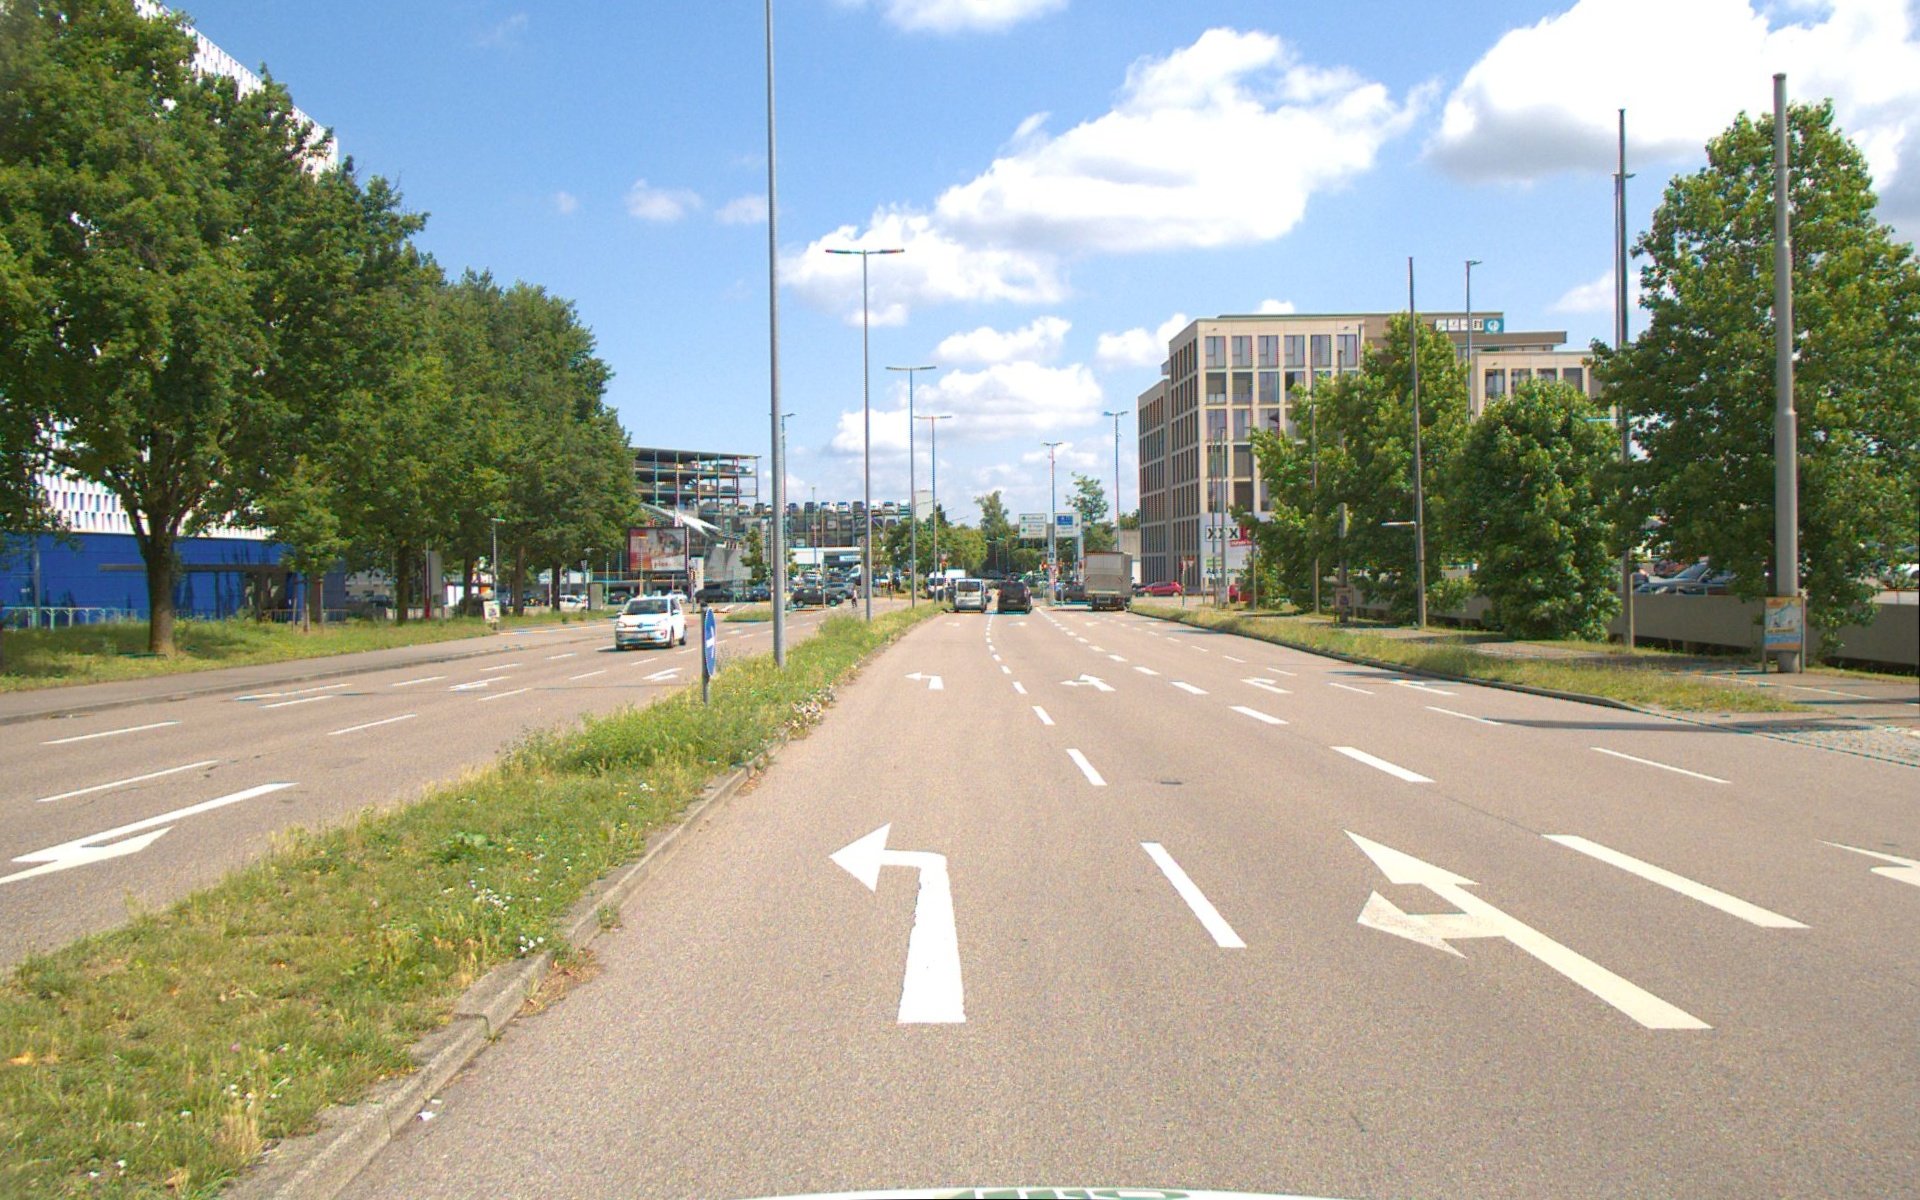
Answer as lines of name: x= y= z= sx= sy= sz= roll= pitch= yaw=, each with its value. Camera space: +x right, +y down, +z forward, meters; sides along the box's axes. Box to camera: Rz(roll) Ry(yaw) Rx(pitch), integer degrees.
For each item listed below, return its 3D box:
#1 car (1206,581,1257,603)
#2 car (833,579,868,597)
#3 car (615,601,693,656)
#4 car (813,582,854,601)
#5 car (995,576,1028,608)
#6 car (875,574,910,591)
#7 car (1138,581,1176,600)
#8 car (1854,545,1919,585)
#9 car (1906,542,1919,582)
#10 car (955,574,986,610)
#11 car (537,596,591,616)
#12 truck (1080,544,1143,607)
car: x=21.177 y=-0.617 z=128.976 sx=3.902 sy=1.691 sz=2.002 roll=0 pitch=1 yaw=8
car: x=-11.243 y=-1.241 z=169.456 sx=3.438 sy=1.742 sz=1.603 roll=-2 pitch=1 yaw=-2
car: x=-8.867 y=0.788 z=48.112 sx=1.610 sy=1.453 sz=3.669 roll=-2 pitch=0 yaw=-1
car: x=-12.150 y=-0.825 z=159.352 sx=3.784 sy=1.668 sz=1.857 roll=-2 pitch=1 yaw=-2
car: x=3.010 y=-0.488 z=95.971 sx=1.781 sy=1.840 sz=4.002 roll=0 pitch=1 yaw=4
car: x=-7.819 y=-2.045 z=190.937 sx=3.909 sy=1.959 sz=1.825 roll=0 pitch=0 yaw=-5
car: x=17.216 y=-0.831 z=144.600 sx=3.206 sy=1.428 sz=1.335 roll=0 pitch=10 yaw=-1
car: x=37.073 y=-1.401 z=63.941 sx=4.099 sy=1.459 sz=1.726 roll=-2 pitch=1 yaw=-1
car: x=37.671 y=-1.483 z=61.321 sx=4.099 sy=1.459 sz=1.893 roll=-2 pitch=1 yaw=-1
car: x=0.623 y=-0.498 z=99.637 sx=1.818 sy=2.053 sz=4.000 roll=0 pitch=1 yaw=-1
car: x=-30.625 y=0.480 z=127.875 sx=3.773 sy=1.492 sz=1.695 roll=-1 pitch=1 yaw=-2
truck: x=10.182 y=-1.682 z=110.352 sx=3.063 sy=4.009 sz=8.867 roll=0 pitch=1 yaw=12
